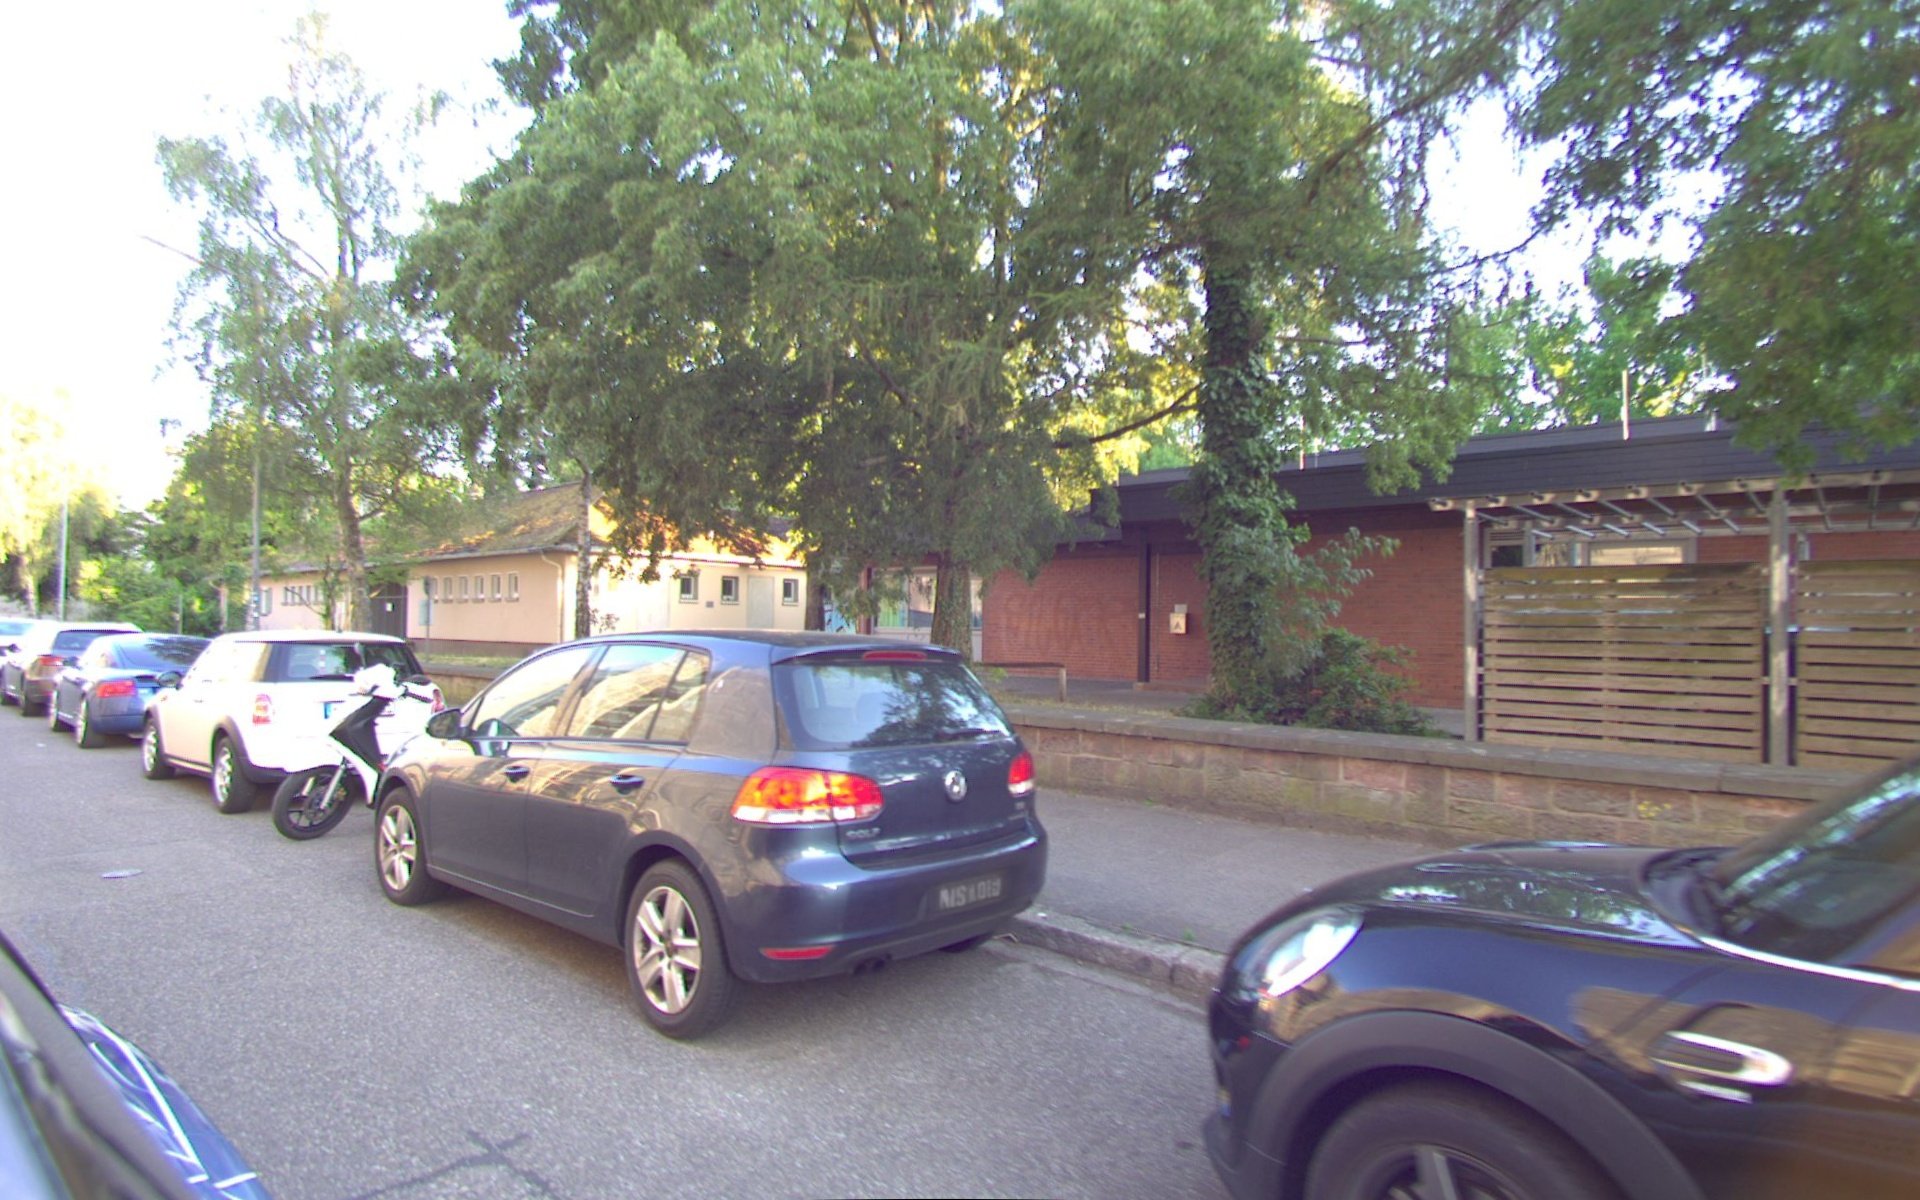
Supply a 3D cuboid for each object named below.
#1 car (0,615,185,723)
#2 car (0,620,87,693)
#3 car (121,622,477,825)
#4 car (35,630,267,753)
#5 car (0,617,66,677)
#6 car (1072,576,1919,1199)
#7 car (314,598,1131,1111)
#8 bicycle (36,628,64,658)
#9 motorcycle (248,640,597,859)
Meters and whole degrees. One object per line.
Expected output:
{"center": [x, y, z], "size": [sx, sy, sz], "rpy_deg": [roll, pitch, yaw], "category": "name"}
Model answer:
{"center": [-14.581, 1.055, 16.719], "size": [4.756, 1.549, 1.840], "rpy_deg": [-1, -3, 41], "category": "car"}
{"center": [-20.770, 1.186, 22.146], "size": [4.745, 1.457, 1.764], "rpy_deg": [-1, -5, 41], "category": "car"}
{"center": [-6.063, 0.970, 9.127], "size": [3.800, 1.442, 1.585], "rpy_deg": [-1, -5, 40], "category": "car"}
{"center": [-10.587, 1.085, 13.135], "size": [4.153, 1.323, 1.641], "rpy_deg": [-1, -3, 42], "category": "car"}
{"center": [-24.834, 1.183, 26.112], "size": [3.995, 1.464, 1.974], "rpy_deg": [-1, -2, 38], "category": "car"}
{"center": [2.284, 0.745, 1.631], "size": [3.992, 1.489, 1.619], "rpy_deg": [-1, -4, 42], "category": "car"}
{"center": [-1.480, 0.818, 5.070], "size": [4.357, 1.507, 1.698], "rpy_deg": [-1, -4, 40], "category": "car"}
{"center": [-35.759, 1.683, 39.754], "size": [1.953, 1.126, 0.538], "rpy_deg": [-1, -1, 40], "category": "bicycle"}
{"center": [-3.844, 0.976, 7.335], "size": [2.135, 1.313, 0.882], "rpy_deg": [0, -1, -35], "category": "motorcycle"}
